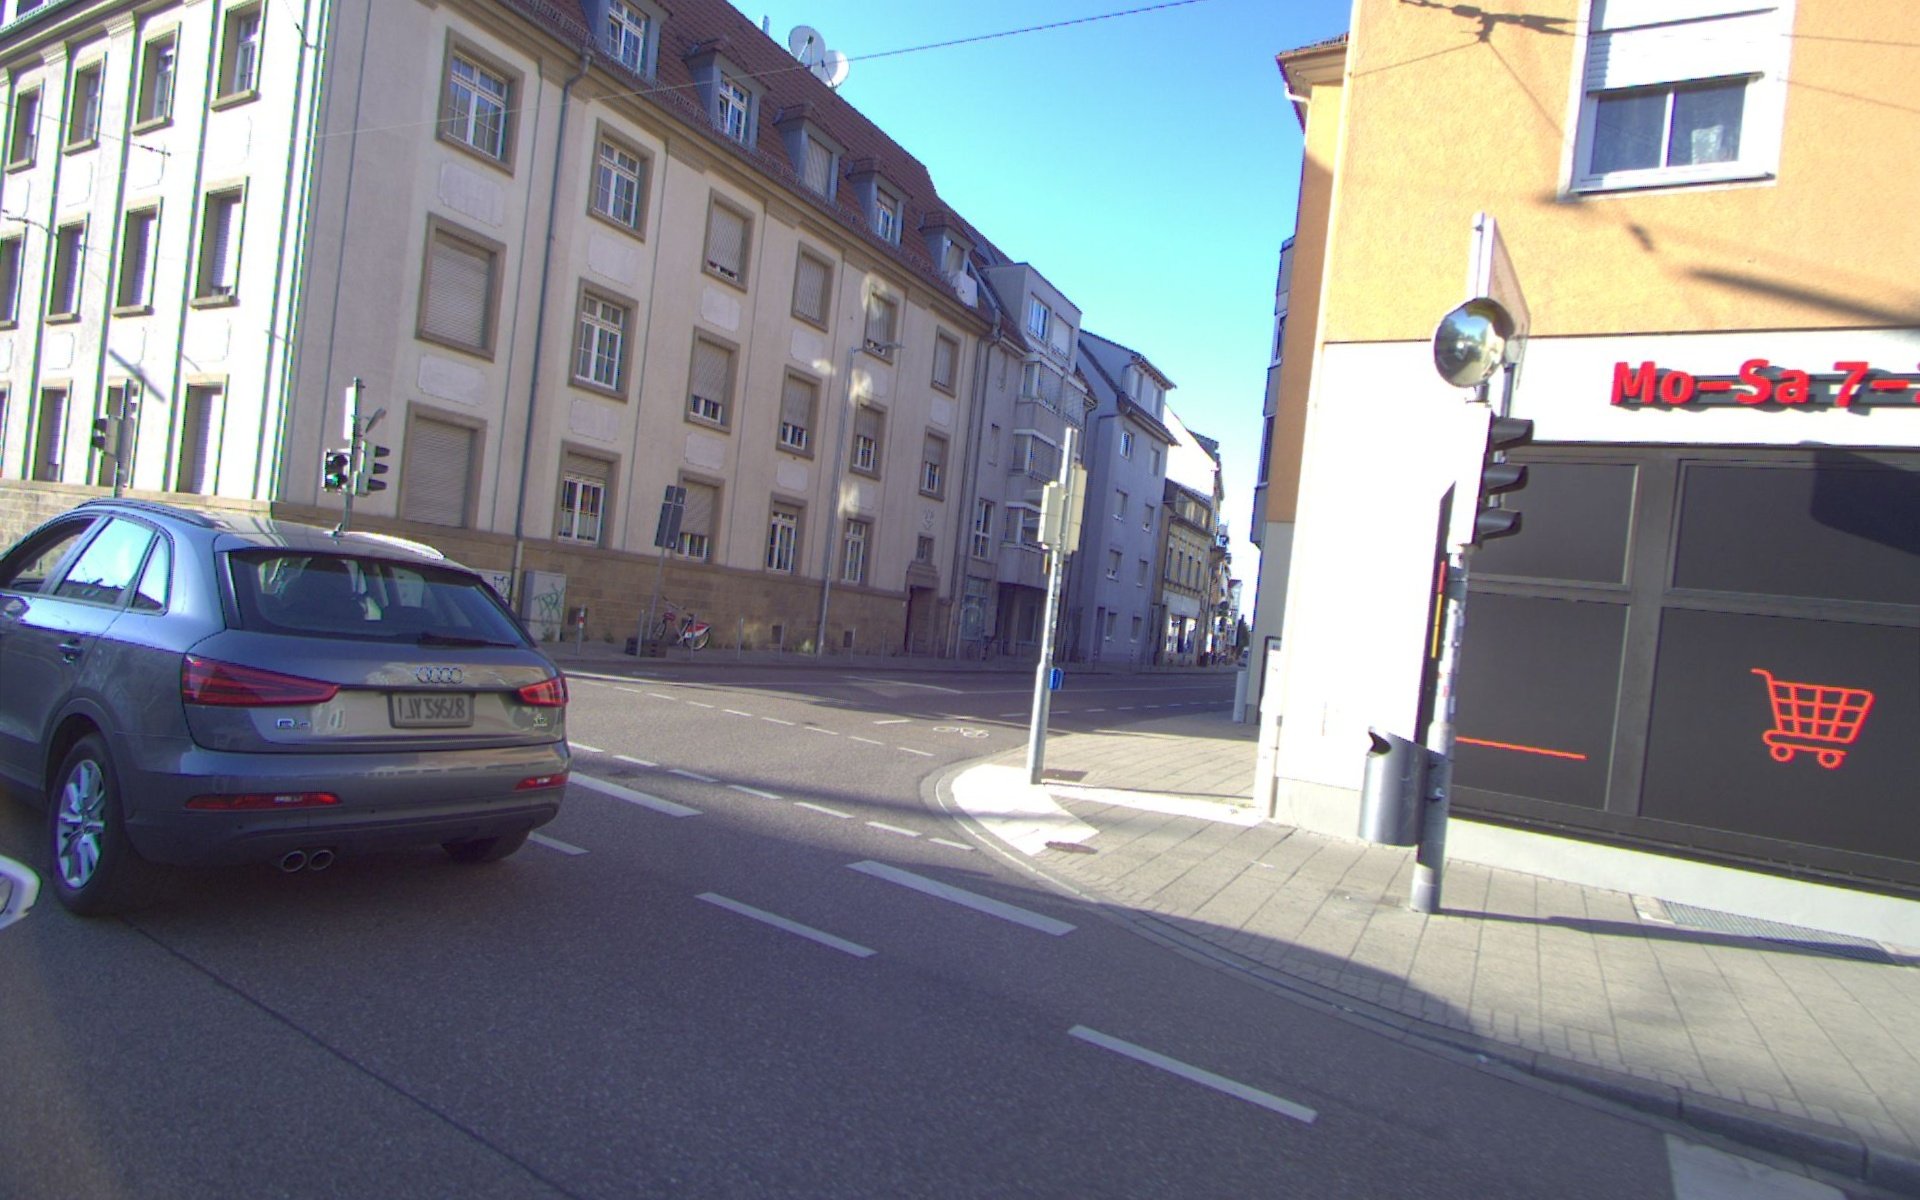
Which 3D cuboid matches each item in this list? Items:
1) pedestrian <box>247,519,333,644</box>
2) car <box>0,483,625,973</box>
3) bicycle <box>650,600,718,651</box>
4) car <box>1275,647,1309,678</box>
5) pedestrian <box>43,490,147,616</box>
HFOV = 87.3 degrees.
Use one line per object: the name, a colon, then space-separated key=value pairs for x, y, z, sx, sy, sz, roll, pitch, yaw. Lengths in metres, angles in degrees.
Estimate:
pedestrian: x=-10.124 y=-0.270 z=15.209 sx=0.811 sy=1.778 sz=0.630 roll=5 pitch=-1 yaw=30
car: x=-3.848 y=0.345 z=5.131 sx=4.156 sy=1.571 sz=1.700 roll=6 pitch=-1 yaw=32
bicycle: x=-6.397 y=0.610 z=23.366 sx=1.499 sy=1.029 sz=0.246 roll=8 pitch=-2 yaw=-44
car: x=24.235 y=4.540 z=73.609 sx=1.962 sy=2.025 sz=4.489 roll=6 pitch=-1 yaw=16
pedestrian: x=-13.244 y=-0.712 z=15.415 sx=0.810 sy=1.783 sz=0.837 roll=5 pitch=-1 yaw=30
